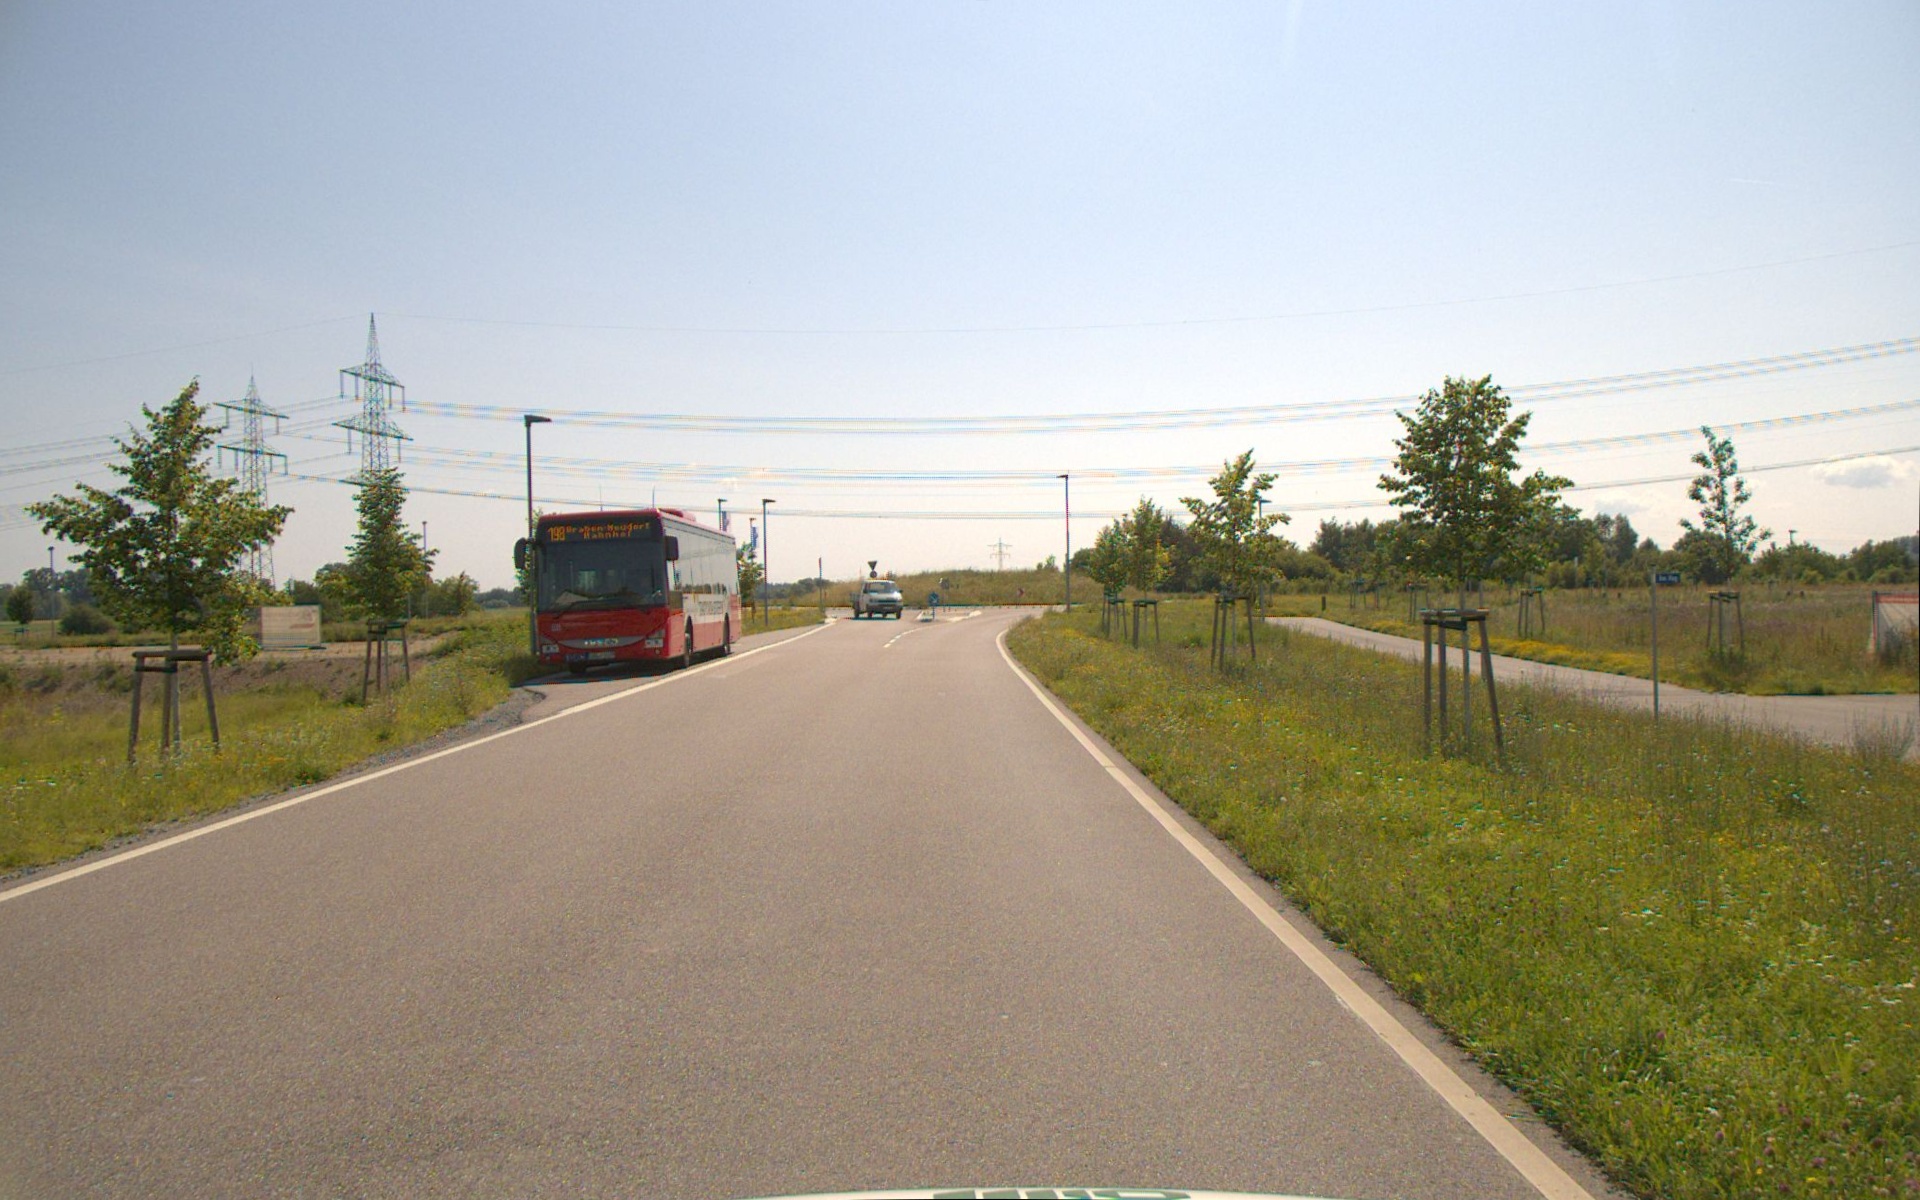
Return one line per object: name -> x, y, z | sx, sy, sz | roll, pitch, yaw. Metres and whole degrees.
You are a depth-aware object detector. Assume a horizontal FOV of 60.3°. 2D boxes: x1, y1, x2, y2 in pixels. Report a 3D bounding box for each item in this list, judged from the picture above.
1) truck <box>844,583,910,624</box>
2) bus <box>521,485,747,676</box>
truck -> -4.418, 0.178, 86.740 | 1.922, 2.019, 5.612 | 1, 0, -20
bus -> -6.711, -0.343, 36.177 | 2.738, 3.344, 12.225 | -2, 0, -2
